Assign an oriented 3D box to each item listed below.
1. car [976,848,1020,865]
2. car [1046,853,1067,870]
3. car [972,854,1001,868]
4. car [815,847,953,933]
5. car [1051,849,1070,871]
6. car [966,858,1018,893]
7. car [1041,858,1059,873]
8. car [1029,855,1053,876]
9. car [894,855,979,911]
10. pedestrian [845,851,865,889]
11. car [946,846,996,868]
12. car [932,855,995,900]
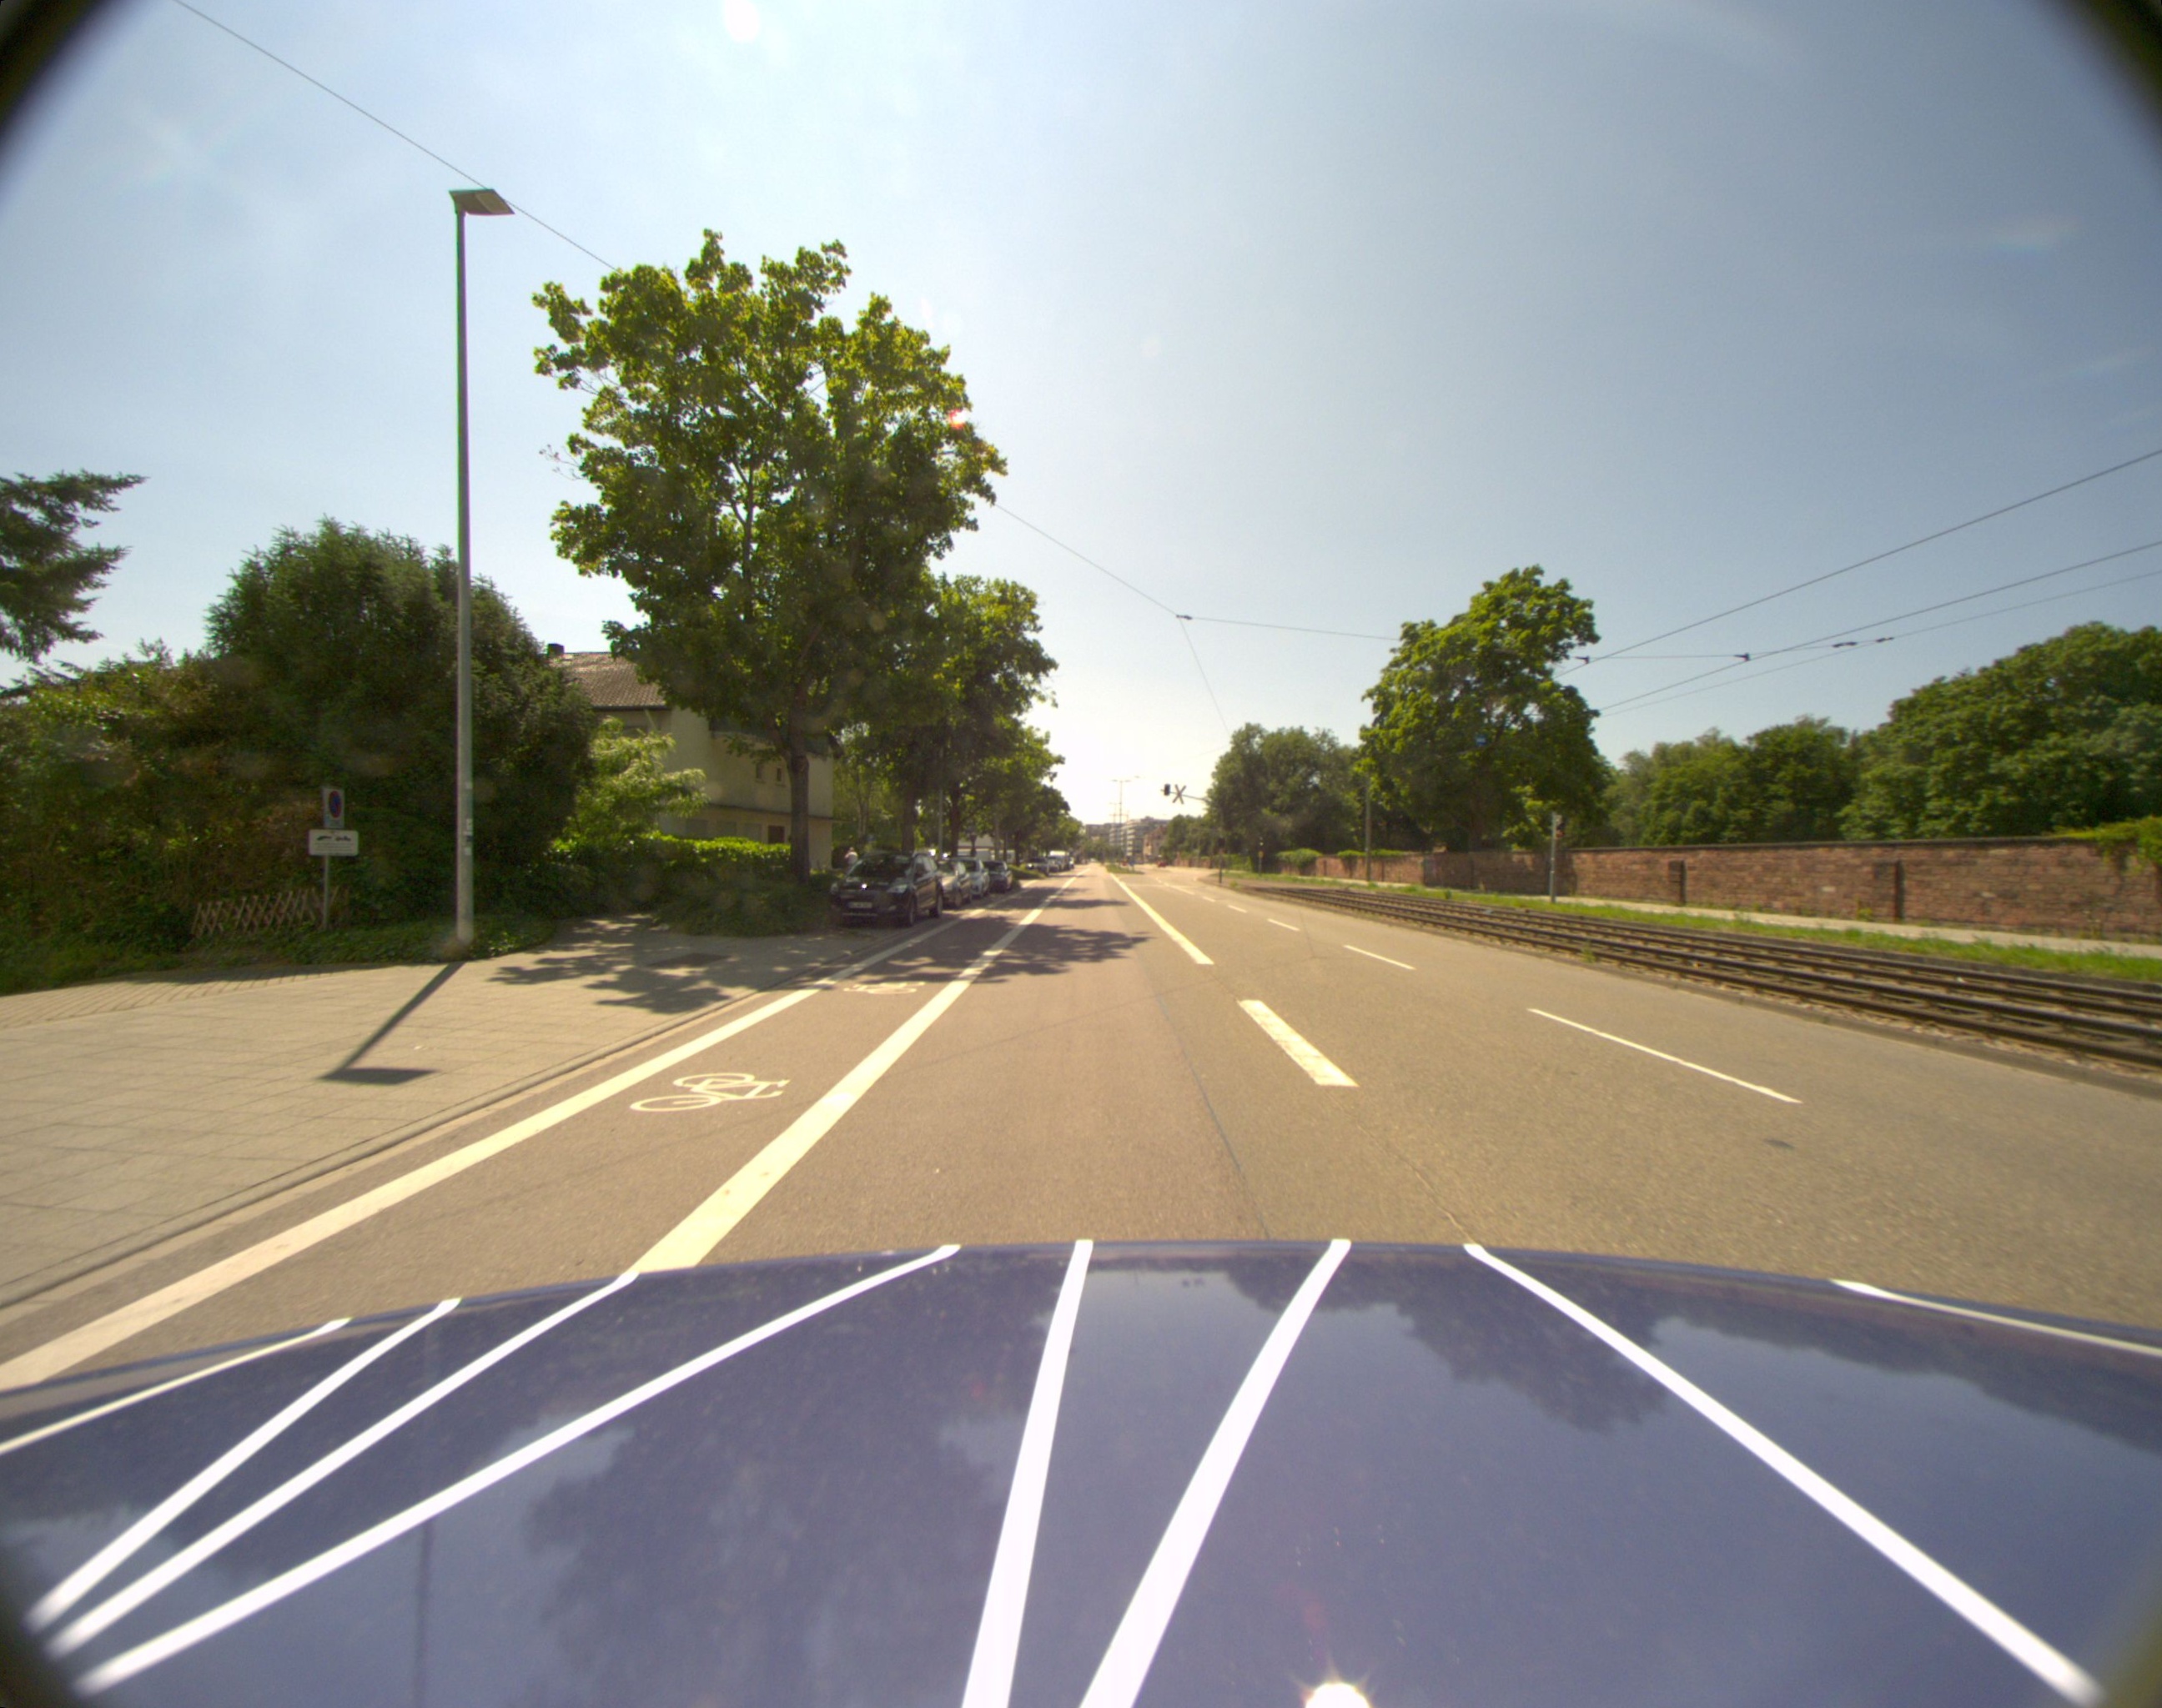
[{"bbox_3d":[-12.505,0.390,114.889,6.355,2.514,2.264,-1,0,4],"label":"car"},{"bbox_3d":[-2.858,0.892,90.356,2.002,1.867,5.277,3,0,3],"label":"car"},{"bbox_3d":[-12.999,0.920,104.314,3.789,1.773,1.954,-1,0,-3],"label":"car"},{"bbox_3d":[-4.533,0.776,18.268,1.845,1.696,4.627,3,0,3],"label":"car"},{"bbox_3d":[-2.605,0.726,97.292,2.002,2.621,6.143,3,0,1],"label":"car"},{"bbox_3d":[-4.070,0.936,35.615,1.845,1.427,4.824,3,0,-1],"label":"car"},{"bbox_3d":[-3.232,1.202,79.508,1.716,1.410,4.708,3,0,-1],"label":"car"},{"bbox_3d":[-3.490,0.977,67.447,1.716,1.623,4.708,3,0,1],"label":"car"},{"bbox_3d":[-4.463,0.857,24.123,1.845,1.520,4.353,3,0,-1],"label":"car"},{"bbox_3d":[-10.103,0.711,34.027,0.749,1.711,0.632,0,0,-5],"label":"pedestrian"},{"bbox_3d":[-13.017,0.341,90.236,5.503,2.445,2.095,-1,0,2],"label":"car"},{"bbox_3d":[-4.503,0.861,29.736,1.845,1.520,4.205,3,0,-1],"label":"car"}]
